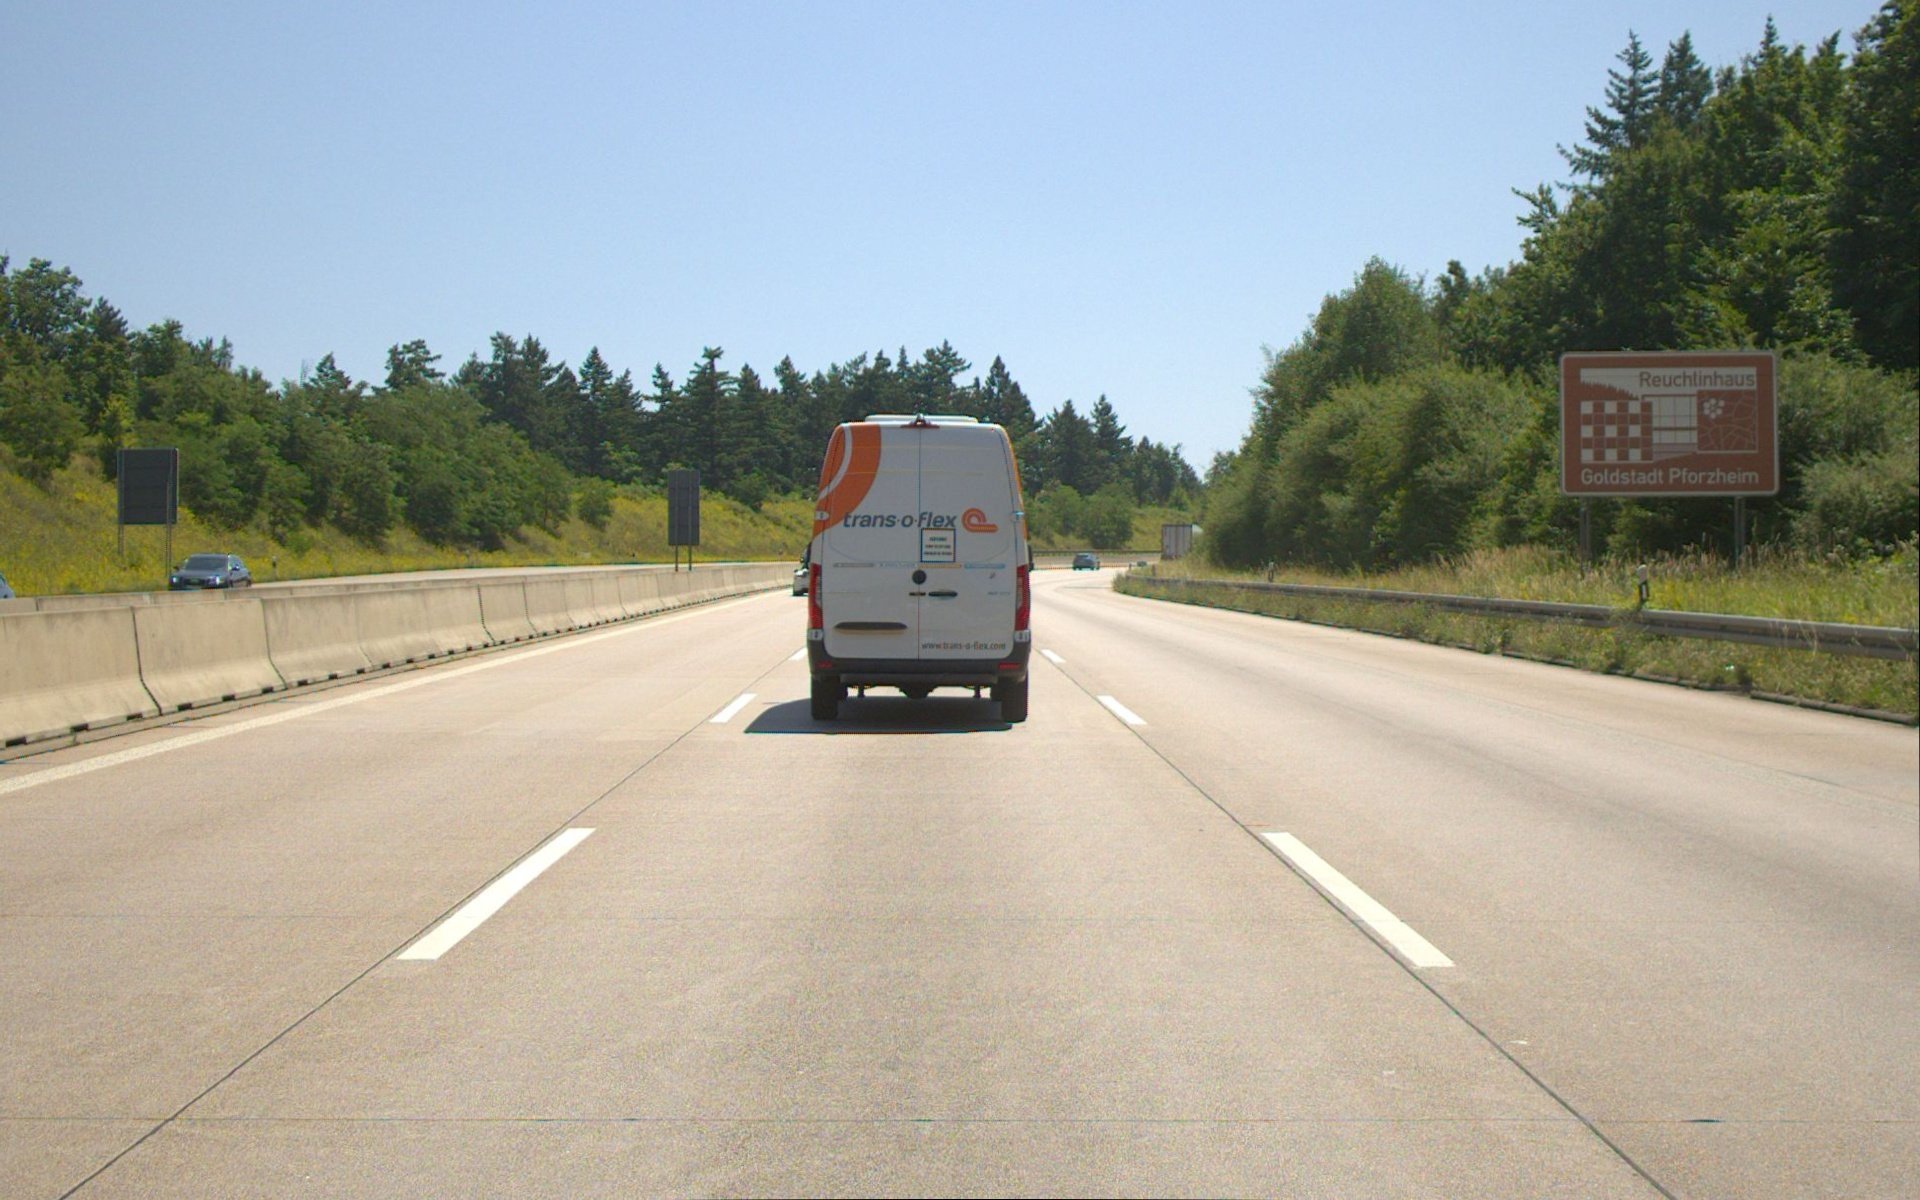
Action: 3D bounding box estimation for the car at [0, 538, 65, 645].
[{"bbox_3d":[-15.106,-0.142,52.181,1.993,1.577,4.042,0,1,0],"label":"car"}]

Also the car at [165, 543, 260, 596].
[{"bbox_3d":[-22.607,-0.921,104.093,1.993,1.577,4.042,0,0,0],"label":"car"}]

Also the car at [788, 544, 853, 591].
[{"bbox_3d":[-5.080,-1.170,125.743,1.994,1.678,3.999,0,0,4],"label":"car"}]

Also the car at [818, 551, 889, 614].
[{"bbox_3d":[-3.063,-0.510,99.630,1.993,1.788,4.000,0,0,-1],"label":"car"}]

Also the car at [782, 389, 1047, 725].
[{"bbox_3d":[-0.426,-0.410,31.915,2.226,2.834,5.454,0,1,-1],"label":"car"}]
